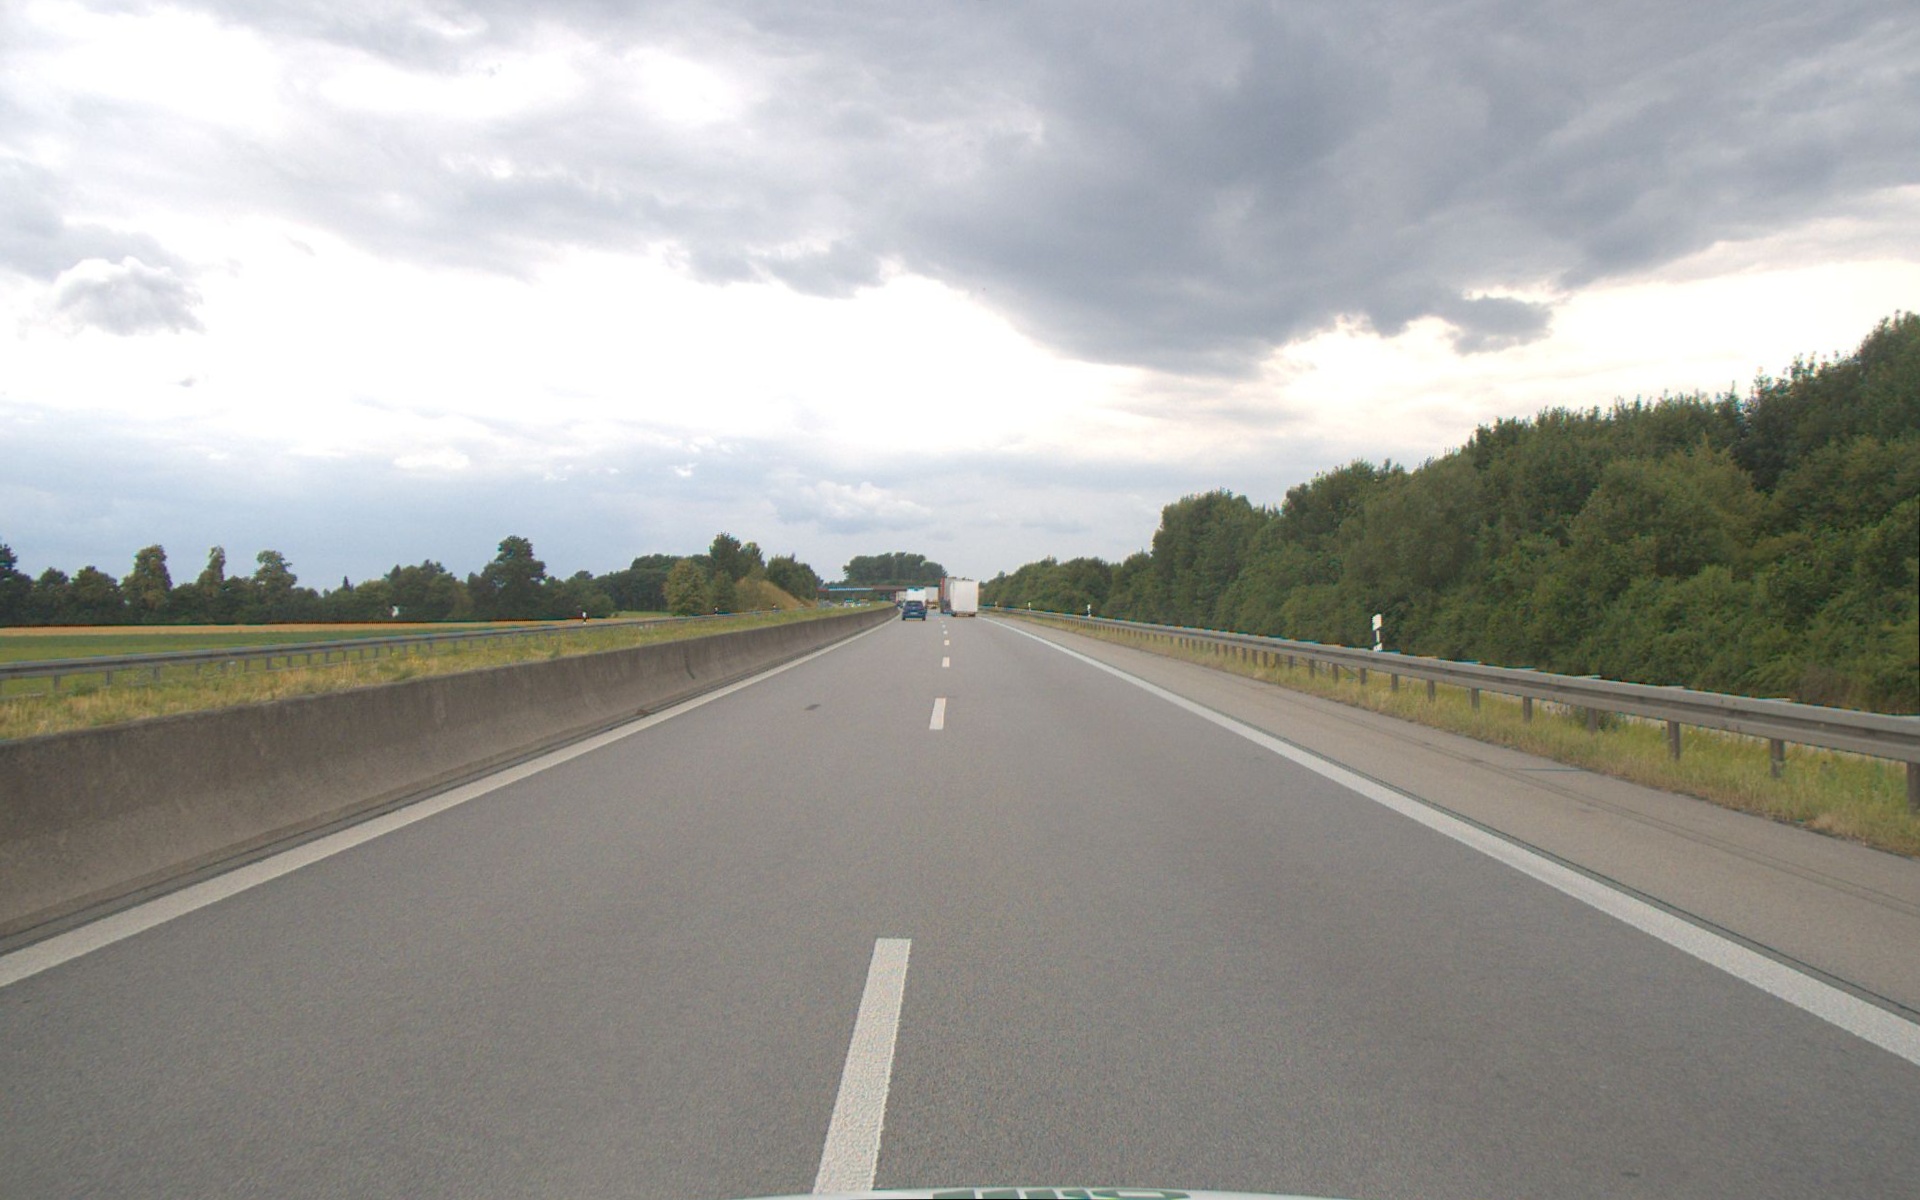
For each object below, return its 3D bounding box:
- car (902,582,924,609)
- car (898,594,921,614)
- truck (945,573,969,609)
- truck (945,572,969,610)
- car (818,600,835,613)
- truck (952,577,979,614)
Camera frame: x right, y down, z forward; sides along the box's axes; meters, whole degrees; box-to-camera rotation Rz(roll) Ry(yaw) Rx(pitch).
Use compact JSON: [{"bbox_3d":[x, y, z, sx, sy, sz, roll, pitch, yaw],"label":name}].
[{"bbox_3d":[-4.567,-0.431,161.685,2.087,2.526,5.838,-1,0,-1],"label":"car"},{"bbox_3d":[-3.644,0.308,119.198,1.630,1.432,3.646,0,0,-3],"label":"car"},{"bbox_3d":[-0.362,-1.038,192.044,2.618,4.116,5.512,-1,0,0],"label":"truck"},{"bbox_3d":[-0.343,-1.010,186.676,2.618,4.116,11.106,-1,0,0],"label":"truck"},{"bbox_3d":[-16.265,0.799,201.453,1.711,1.513,4.528,-2,0,-2],"label":"car"},{"bbox_3d":[0.451,-0.369,149.745,2.366,3.279,7.142,0,0,-1],"label":"truck"}]
